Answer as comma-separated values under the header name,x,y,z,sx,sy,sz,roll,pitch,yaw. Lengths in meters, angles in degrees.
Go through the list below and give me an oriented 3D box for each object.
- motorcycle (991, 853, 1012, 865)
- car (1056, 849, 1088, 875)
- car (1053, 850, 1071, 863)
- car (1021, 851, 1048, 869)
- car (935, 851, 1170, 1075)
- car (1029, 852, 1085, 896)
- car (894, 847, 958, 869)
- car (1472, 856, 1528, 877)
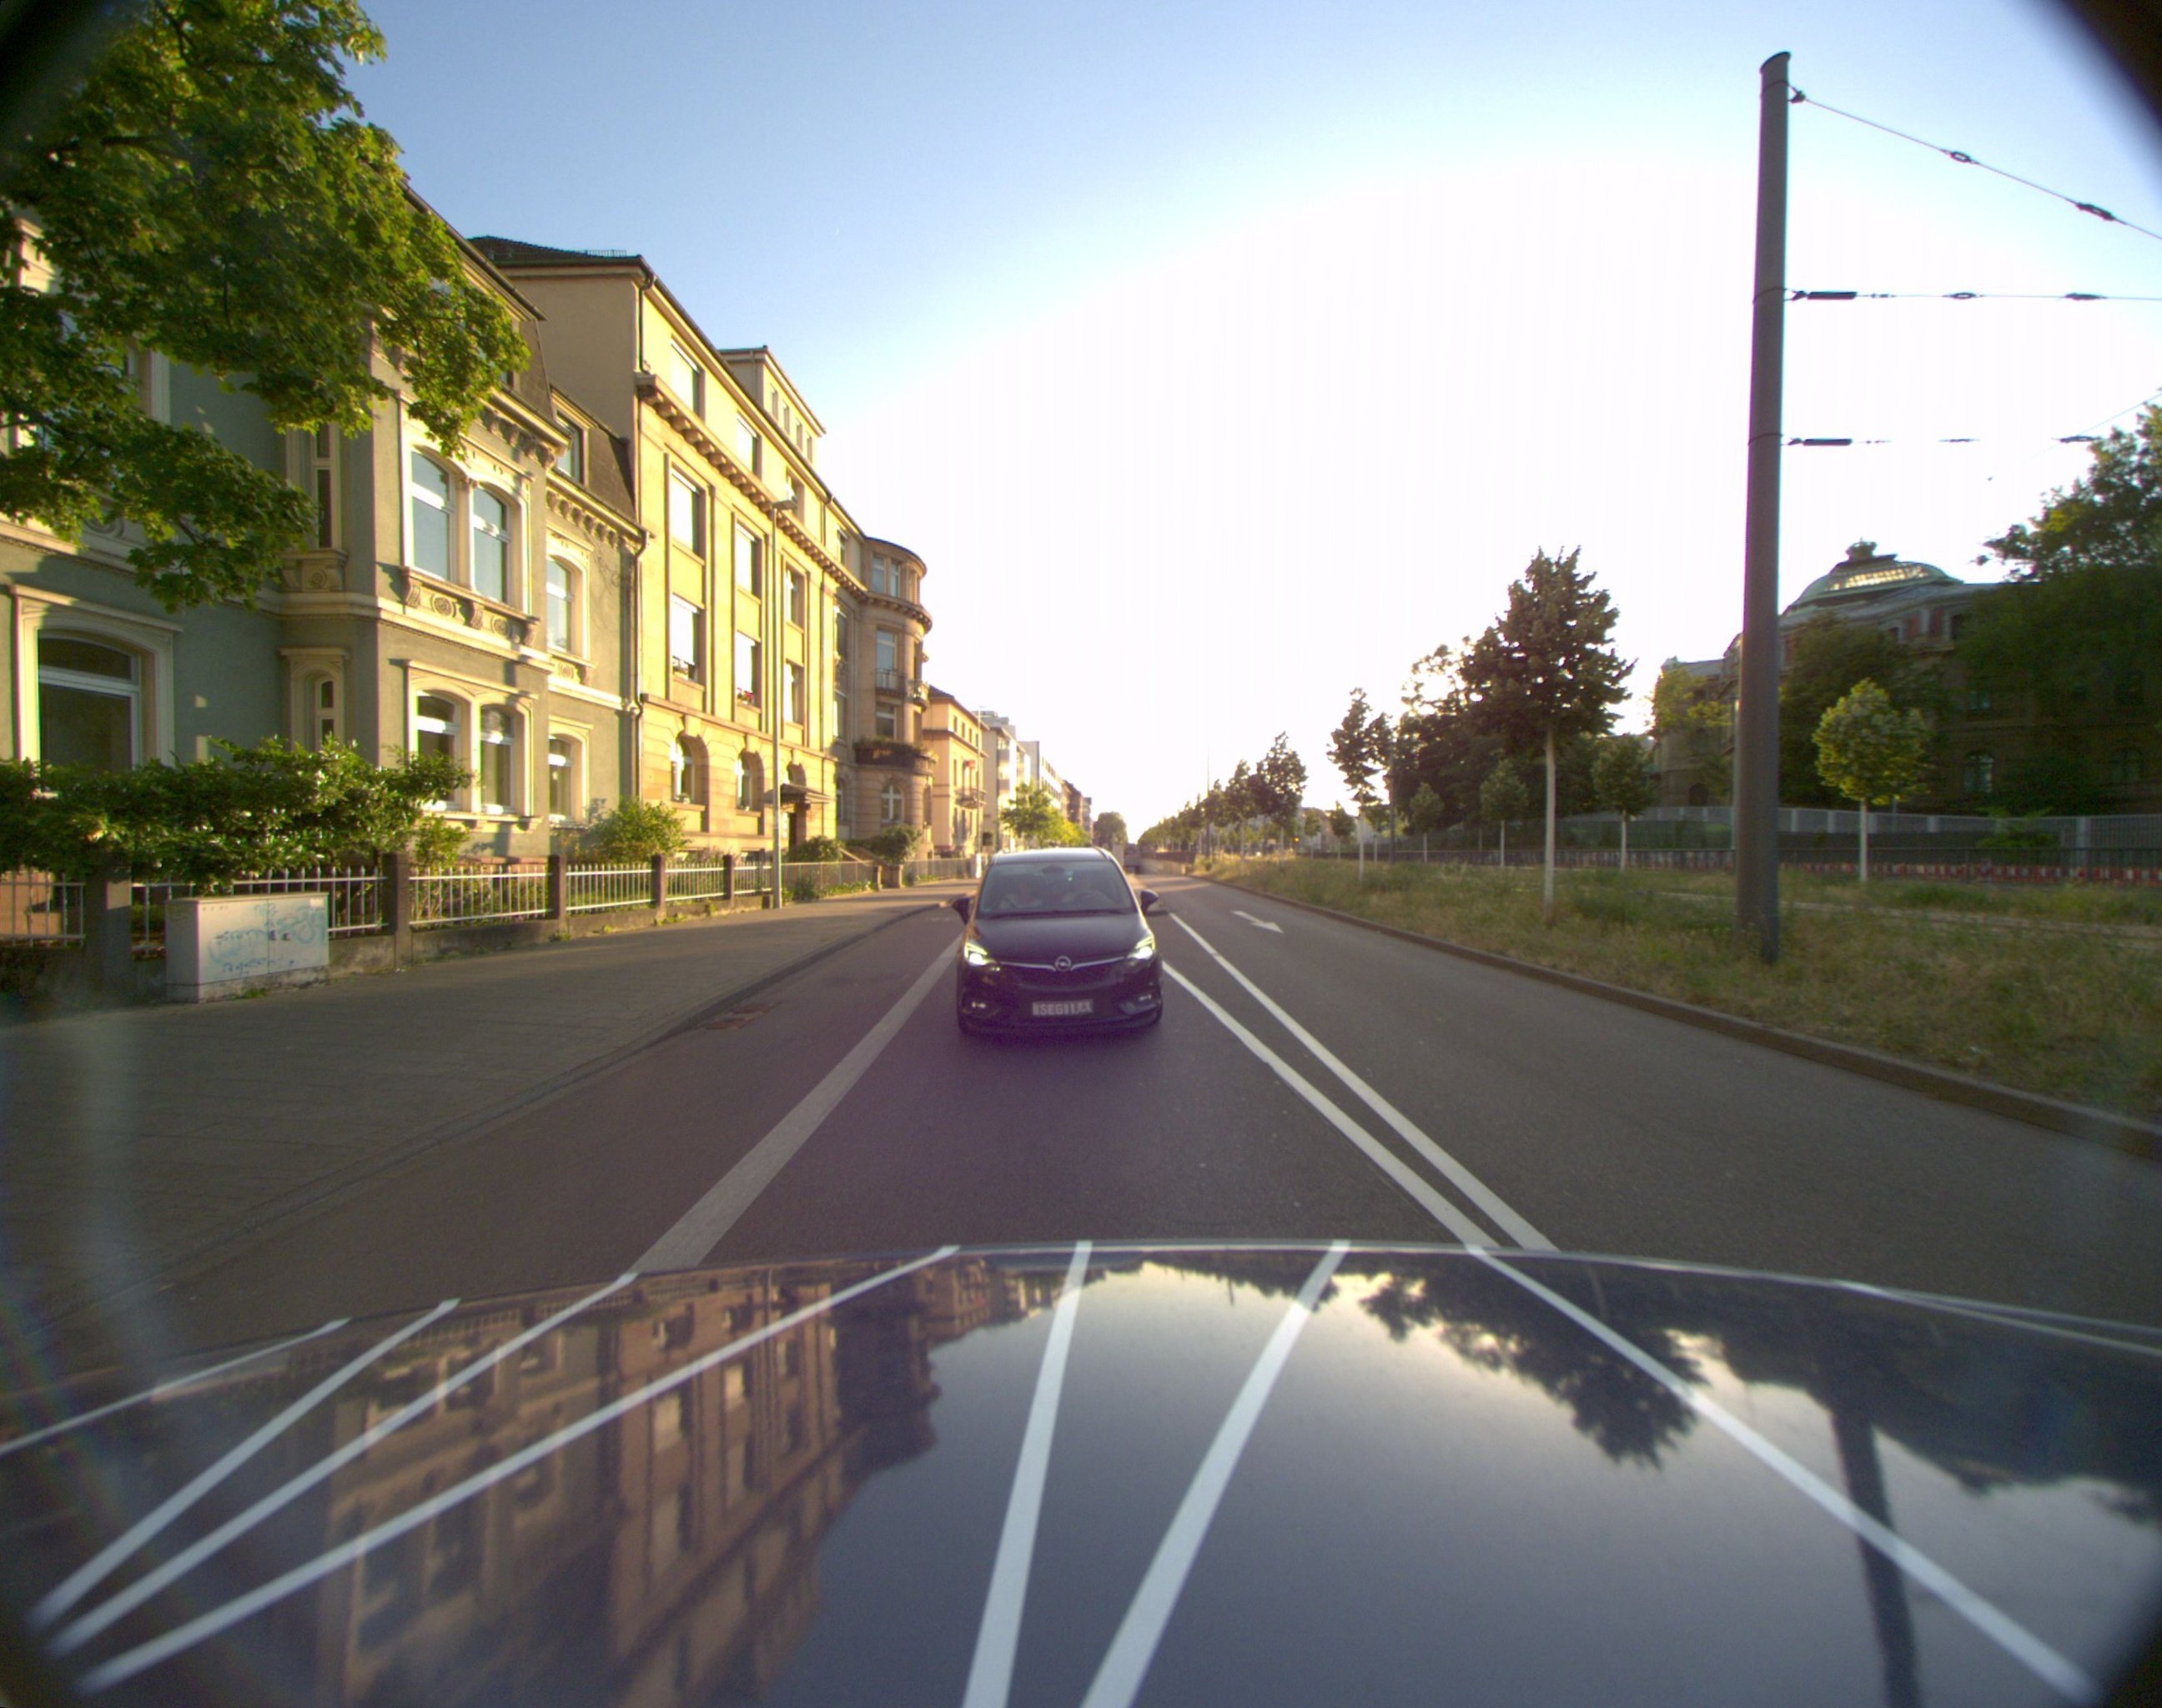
name,x,y,z,sx,sy,sz,roll,pitch,yaw
motorcycle,-7.367,0.428,70.178,1.848,1.090,0.576,-1,1,8
car,-0.509,0.500,47.020,1.859,1.425,4.843,-2,-1,0
car,-2.270,0.312,91.885,1.937,1.472,4.100,-1,0,1
car,-3.767,0.490,62.705,1.882,1.394,4.100,-1,0,1
car,-0.344,0.817,8.234,1.771,1.649,4.850,-1,1,-3
car,-0.815,0.696,27.816,1.859,1.425,4.843,-2,-1,0
car,-10.937,0.296,53.854,4.096,1.472,1.938,-1,1,3
car,32.358,0.976,58.806,1.937,1.472,4.523,-2,-1,2
